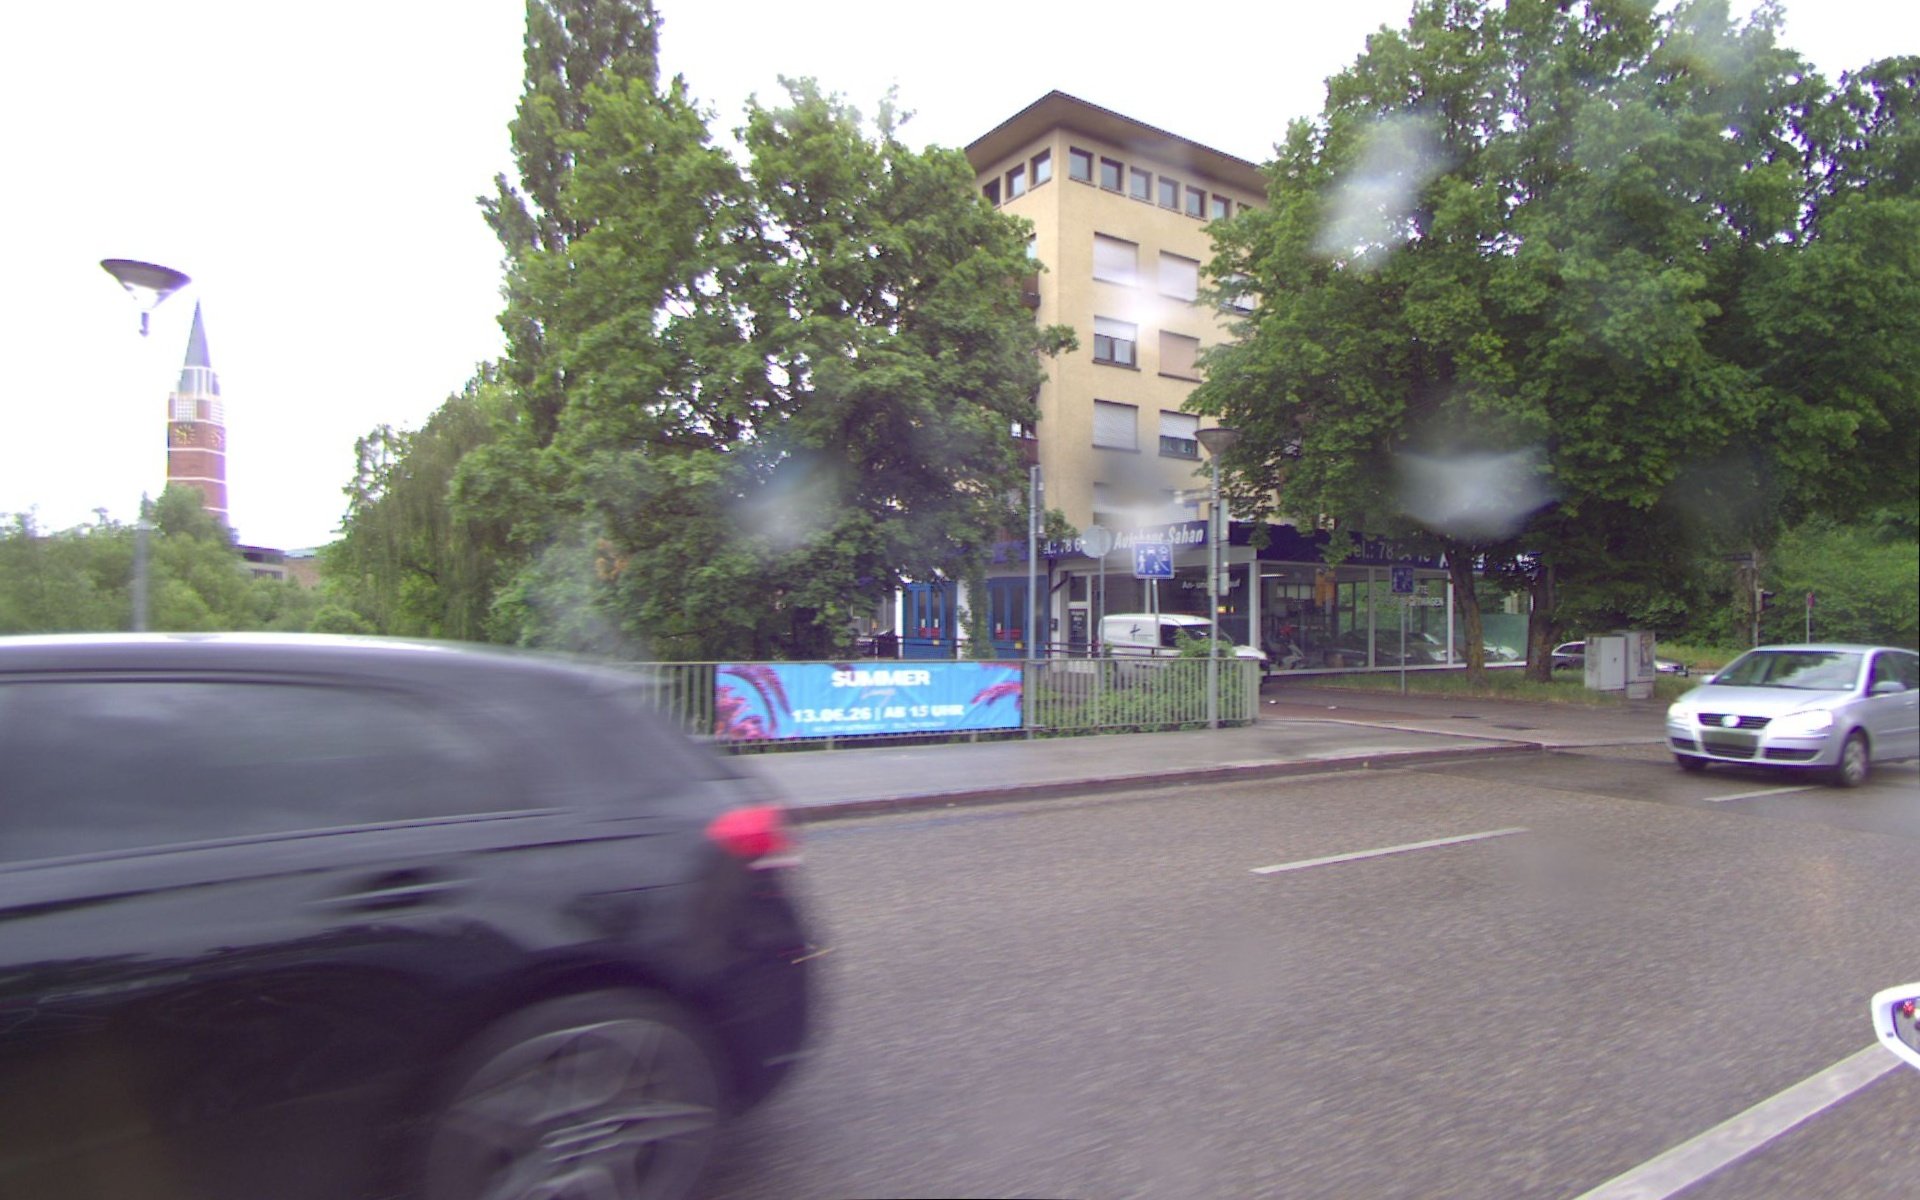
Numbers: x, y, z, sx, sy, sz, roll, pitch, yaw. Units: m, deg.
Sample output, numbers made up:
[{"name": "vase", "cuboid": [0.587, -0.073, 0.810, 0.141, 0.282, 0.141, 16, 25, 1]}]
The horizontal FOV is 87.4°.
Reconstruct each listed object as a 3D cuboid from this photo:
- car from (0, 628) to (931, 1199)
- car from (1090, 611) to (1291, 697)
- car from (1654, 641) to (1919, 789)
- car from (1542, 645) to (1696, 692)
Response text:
[{"name": "car", "cuboid": [-2.235, 0.792, 2.268, 4.046, 1.434, 1.701, 1, -3, -31]}, {"name": "car", "cuboid": [5.640, 1.248, 25.128, 1.982, 1.879, 4.705, -1, 0, -38]}, {"name": "car", "cuboid": [9.788, 1.211, 11.515, 3.642, 1.438, 1.619, 2, -2, -30]}, {"name": "car", "cuboid": [22.890, 2.335, 35.047, 1.793, 1.469, 4.180, 1, -2, -26]}]
